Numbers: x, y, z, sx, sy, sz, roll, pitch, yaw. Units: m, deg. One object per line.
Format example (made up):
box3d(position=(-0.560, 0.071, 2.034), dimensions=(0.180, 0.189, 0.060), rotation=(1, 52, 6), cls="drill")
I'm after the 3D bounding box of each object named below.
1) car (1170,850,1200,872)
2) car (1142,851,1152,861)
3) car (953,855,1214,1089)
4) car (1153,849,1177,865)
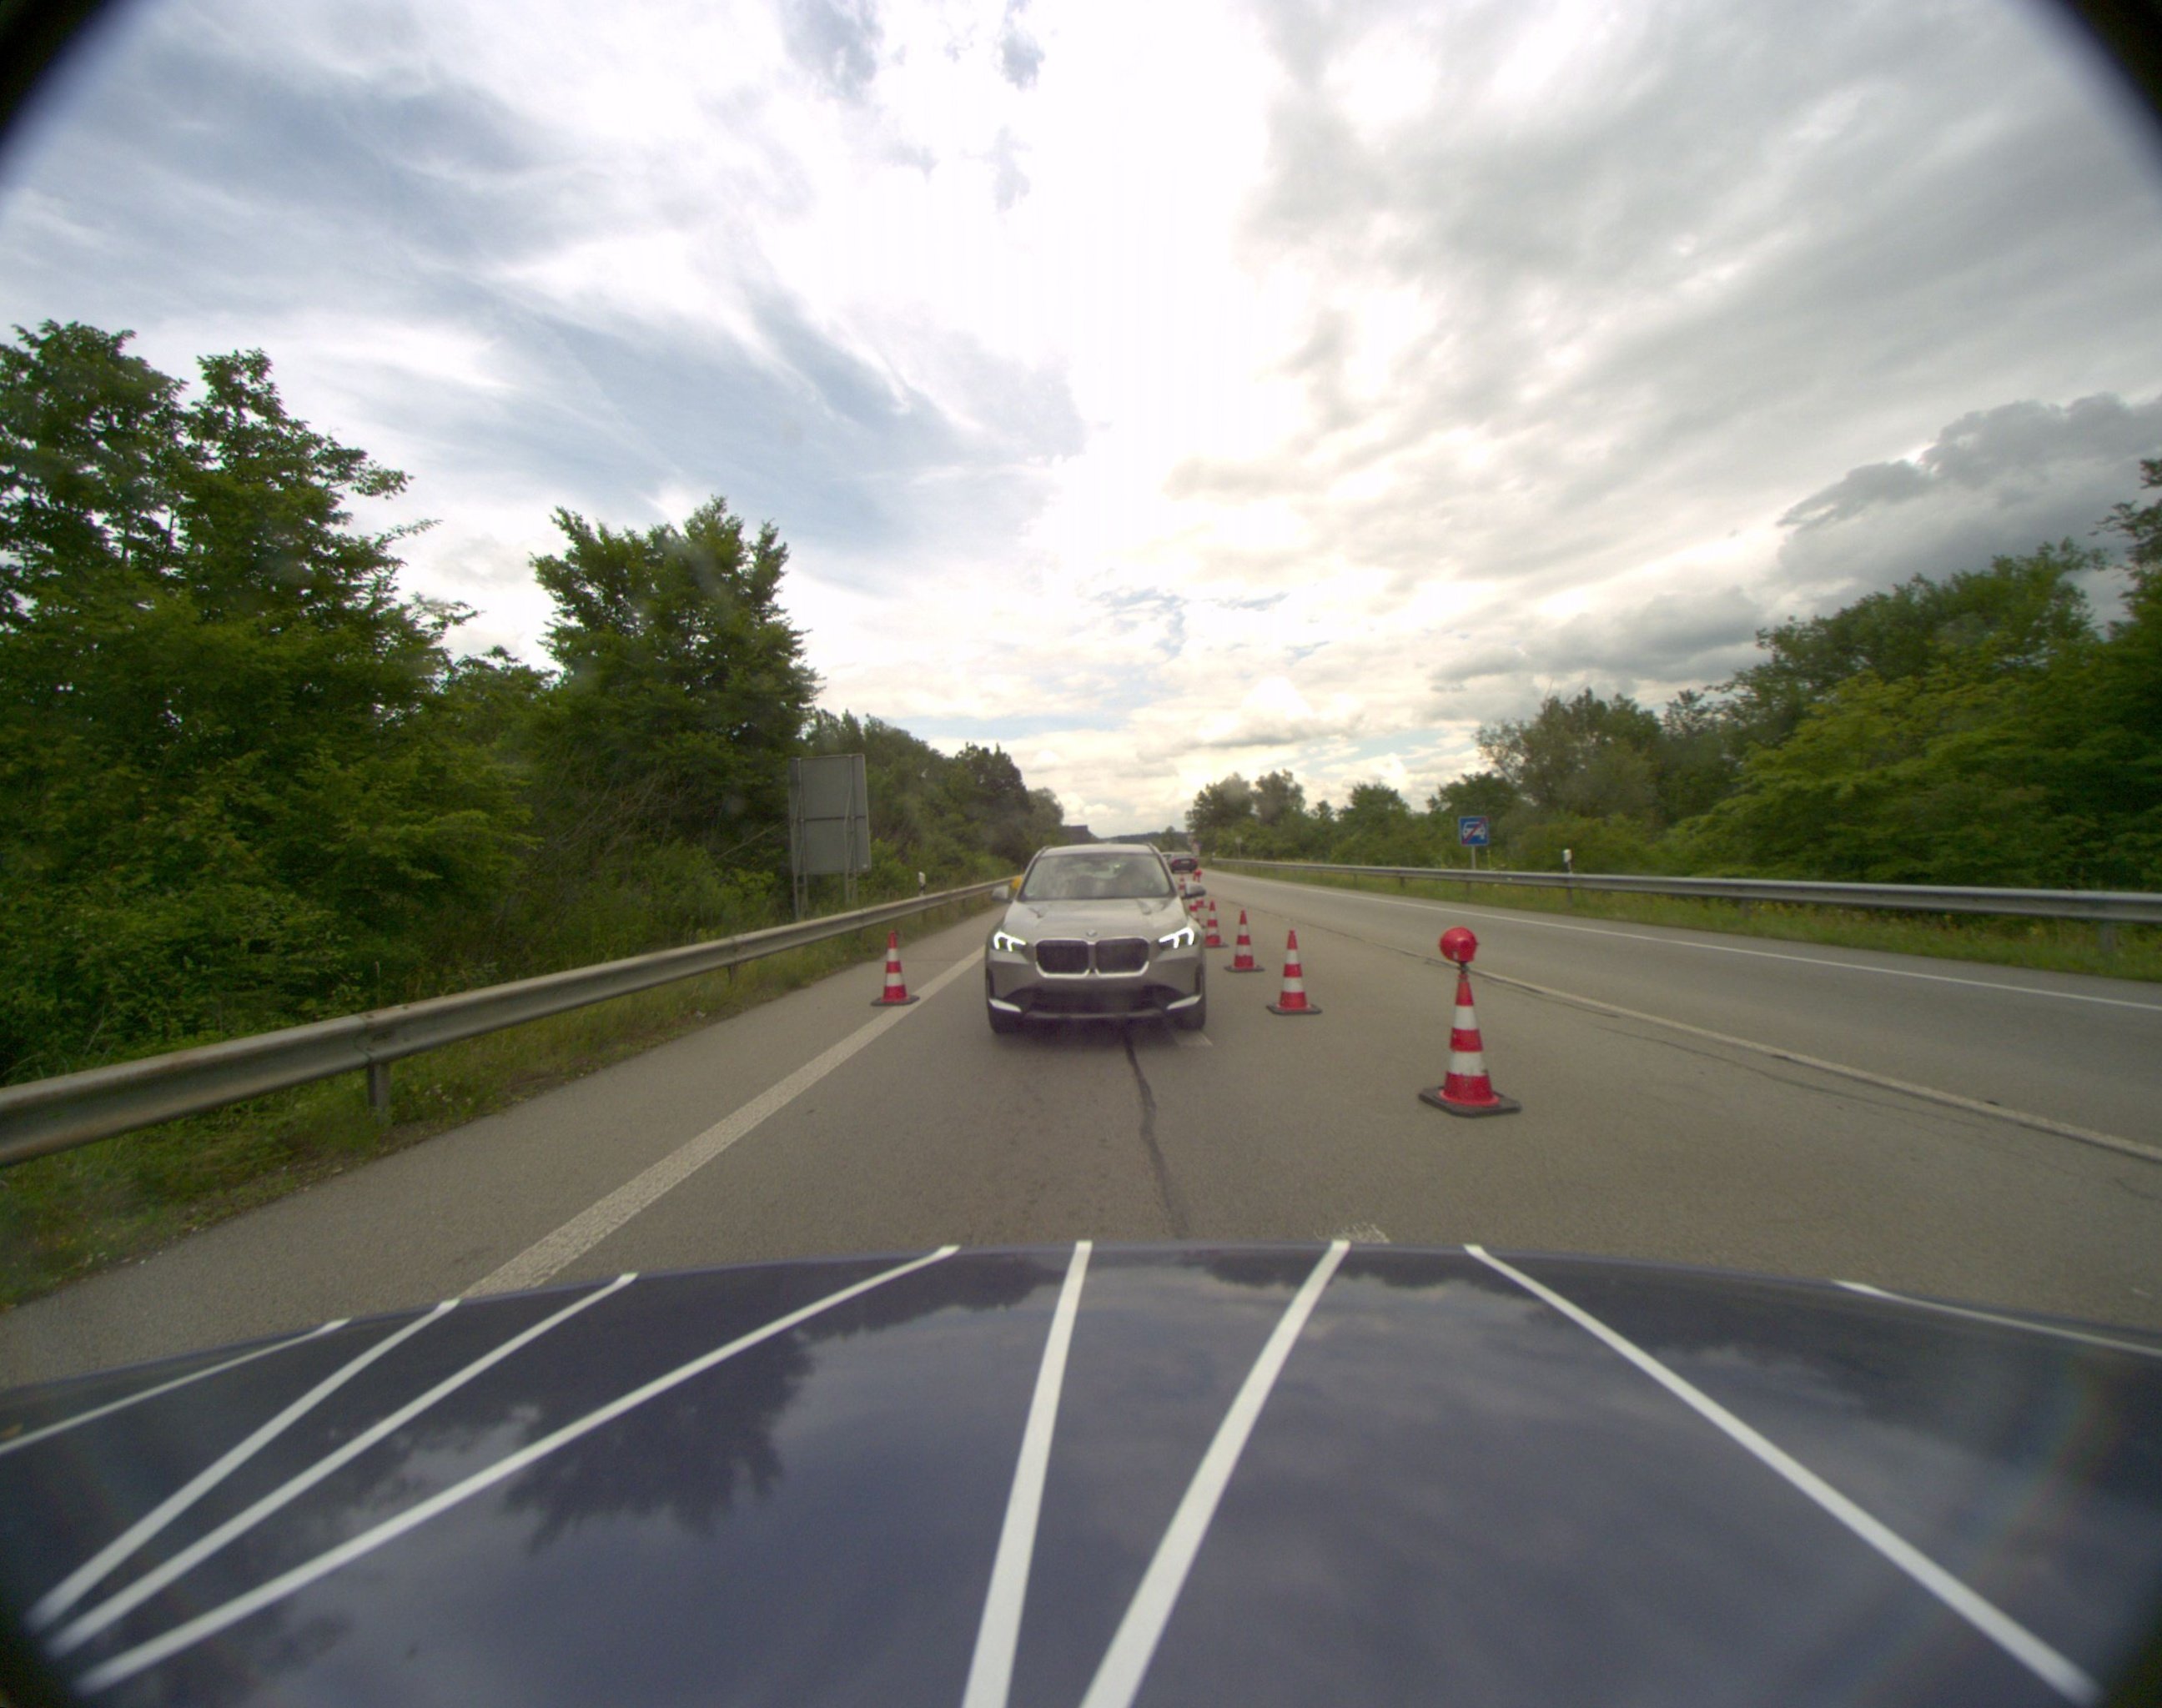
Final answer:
box3d(position=(7.187, 0.437, 52.895), dimensions=(1.712, 1.428, 4.337), rotation=(-2, 0, 4), cls="car")
box3d(position=(14.159, 0.346, 162.902), dimensions=(2.034, 1.976, 5.316), rotation=(-2, 0, 3), cls="car")
box3d(position=(0.138, 0.849, 7.624), dimensions=(1.817, 1.598, 4.434), rotation=(-2, 0, 3), cls="car")
box3d(position=(8.086, 0.280, 73.185), dimensions=(1.683, 1.393, 4.373), rotation=(-2, 0, -1), cls="car")
